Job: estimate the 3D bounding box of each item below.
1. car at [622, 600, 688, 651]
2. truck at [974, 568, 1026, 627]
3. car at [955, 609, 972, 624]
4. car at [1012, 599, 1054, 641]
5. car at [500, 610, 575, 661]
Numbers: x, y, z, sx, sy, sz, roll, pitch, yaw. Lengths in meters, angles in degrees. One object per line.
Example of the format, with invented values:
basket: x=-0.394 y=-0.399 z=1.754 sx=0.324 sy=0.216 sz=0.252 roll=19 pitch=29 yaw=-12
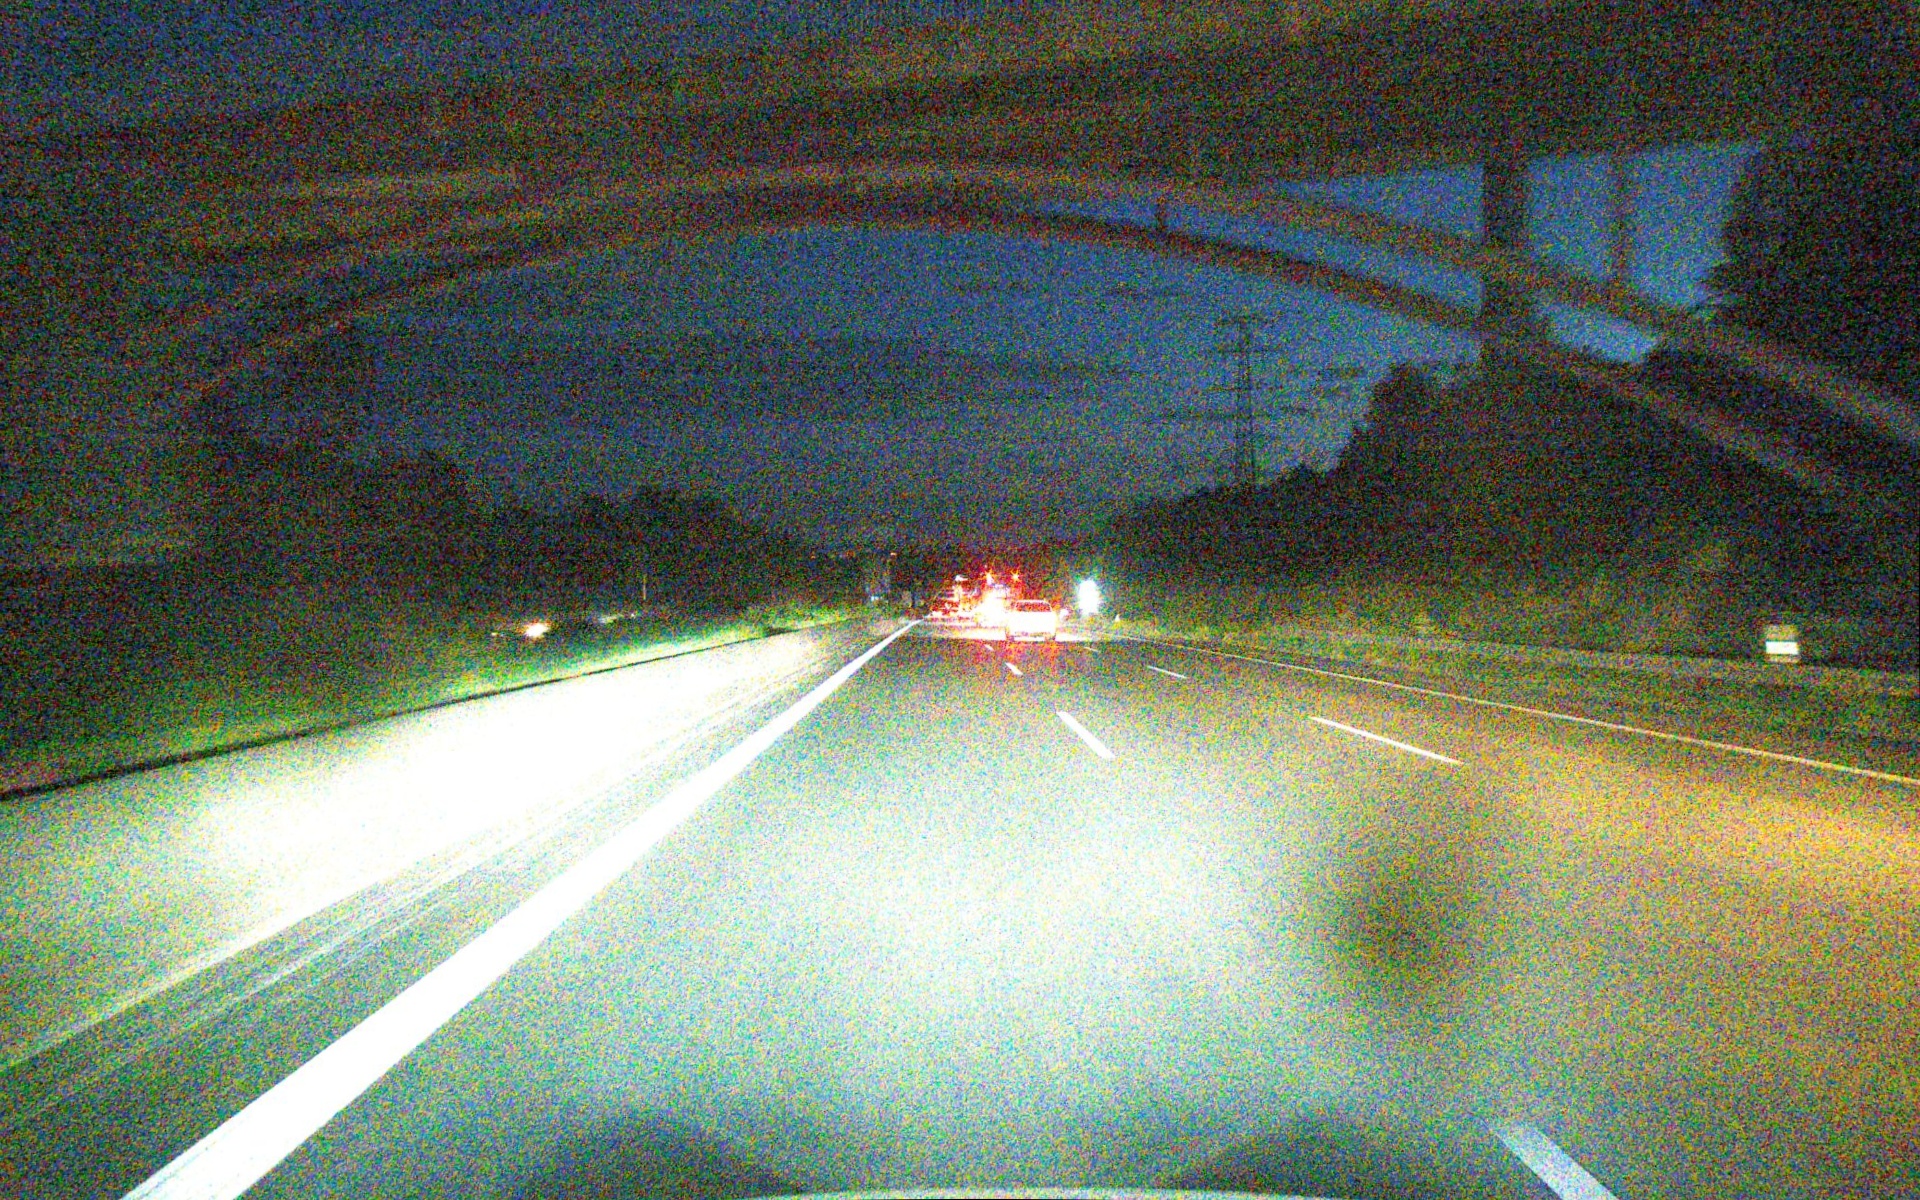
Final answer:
car: x=-12.229 y=0.986 z=66.676 sx=1.803 sy=1.801 sz=5.056 roll=1 pitch=1 yaw=-1
truck: x=2.452 y=-0.236 z=104.781 sx=2.982 sy=3.382 sz=10.142 roll=1 pitch=1 yaw=0
car: x=0.339 y=1.780 z=180.208 sx=1.783 sy=1.491 sz=4.248 roll=1 pitch=1 yaw=0
car: x=2.743 y=0.742 z=62.901 sx=1.319 sy=1.411 sz=3.501 roll=1 pitch=1 yaw=-2
car: x=-16.285 y=1.332 z=63.968 sx=1.705 sy=1.668 sz=5.056 roll=1 pitch=1 yaw=-1
